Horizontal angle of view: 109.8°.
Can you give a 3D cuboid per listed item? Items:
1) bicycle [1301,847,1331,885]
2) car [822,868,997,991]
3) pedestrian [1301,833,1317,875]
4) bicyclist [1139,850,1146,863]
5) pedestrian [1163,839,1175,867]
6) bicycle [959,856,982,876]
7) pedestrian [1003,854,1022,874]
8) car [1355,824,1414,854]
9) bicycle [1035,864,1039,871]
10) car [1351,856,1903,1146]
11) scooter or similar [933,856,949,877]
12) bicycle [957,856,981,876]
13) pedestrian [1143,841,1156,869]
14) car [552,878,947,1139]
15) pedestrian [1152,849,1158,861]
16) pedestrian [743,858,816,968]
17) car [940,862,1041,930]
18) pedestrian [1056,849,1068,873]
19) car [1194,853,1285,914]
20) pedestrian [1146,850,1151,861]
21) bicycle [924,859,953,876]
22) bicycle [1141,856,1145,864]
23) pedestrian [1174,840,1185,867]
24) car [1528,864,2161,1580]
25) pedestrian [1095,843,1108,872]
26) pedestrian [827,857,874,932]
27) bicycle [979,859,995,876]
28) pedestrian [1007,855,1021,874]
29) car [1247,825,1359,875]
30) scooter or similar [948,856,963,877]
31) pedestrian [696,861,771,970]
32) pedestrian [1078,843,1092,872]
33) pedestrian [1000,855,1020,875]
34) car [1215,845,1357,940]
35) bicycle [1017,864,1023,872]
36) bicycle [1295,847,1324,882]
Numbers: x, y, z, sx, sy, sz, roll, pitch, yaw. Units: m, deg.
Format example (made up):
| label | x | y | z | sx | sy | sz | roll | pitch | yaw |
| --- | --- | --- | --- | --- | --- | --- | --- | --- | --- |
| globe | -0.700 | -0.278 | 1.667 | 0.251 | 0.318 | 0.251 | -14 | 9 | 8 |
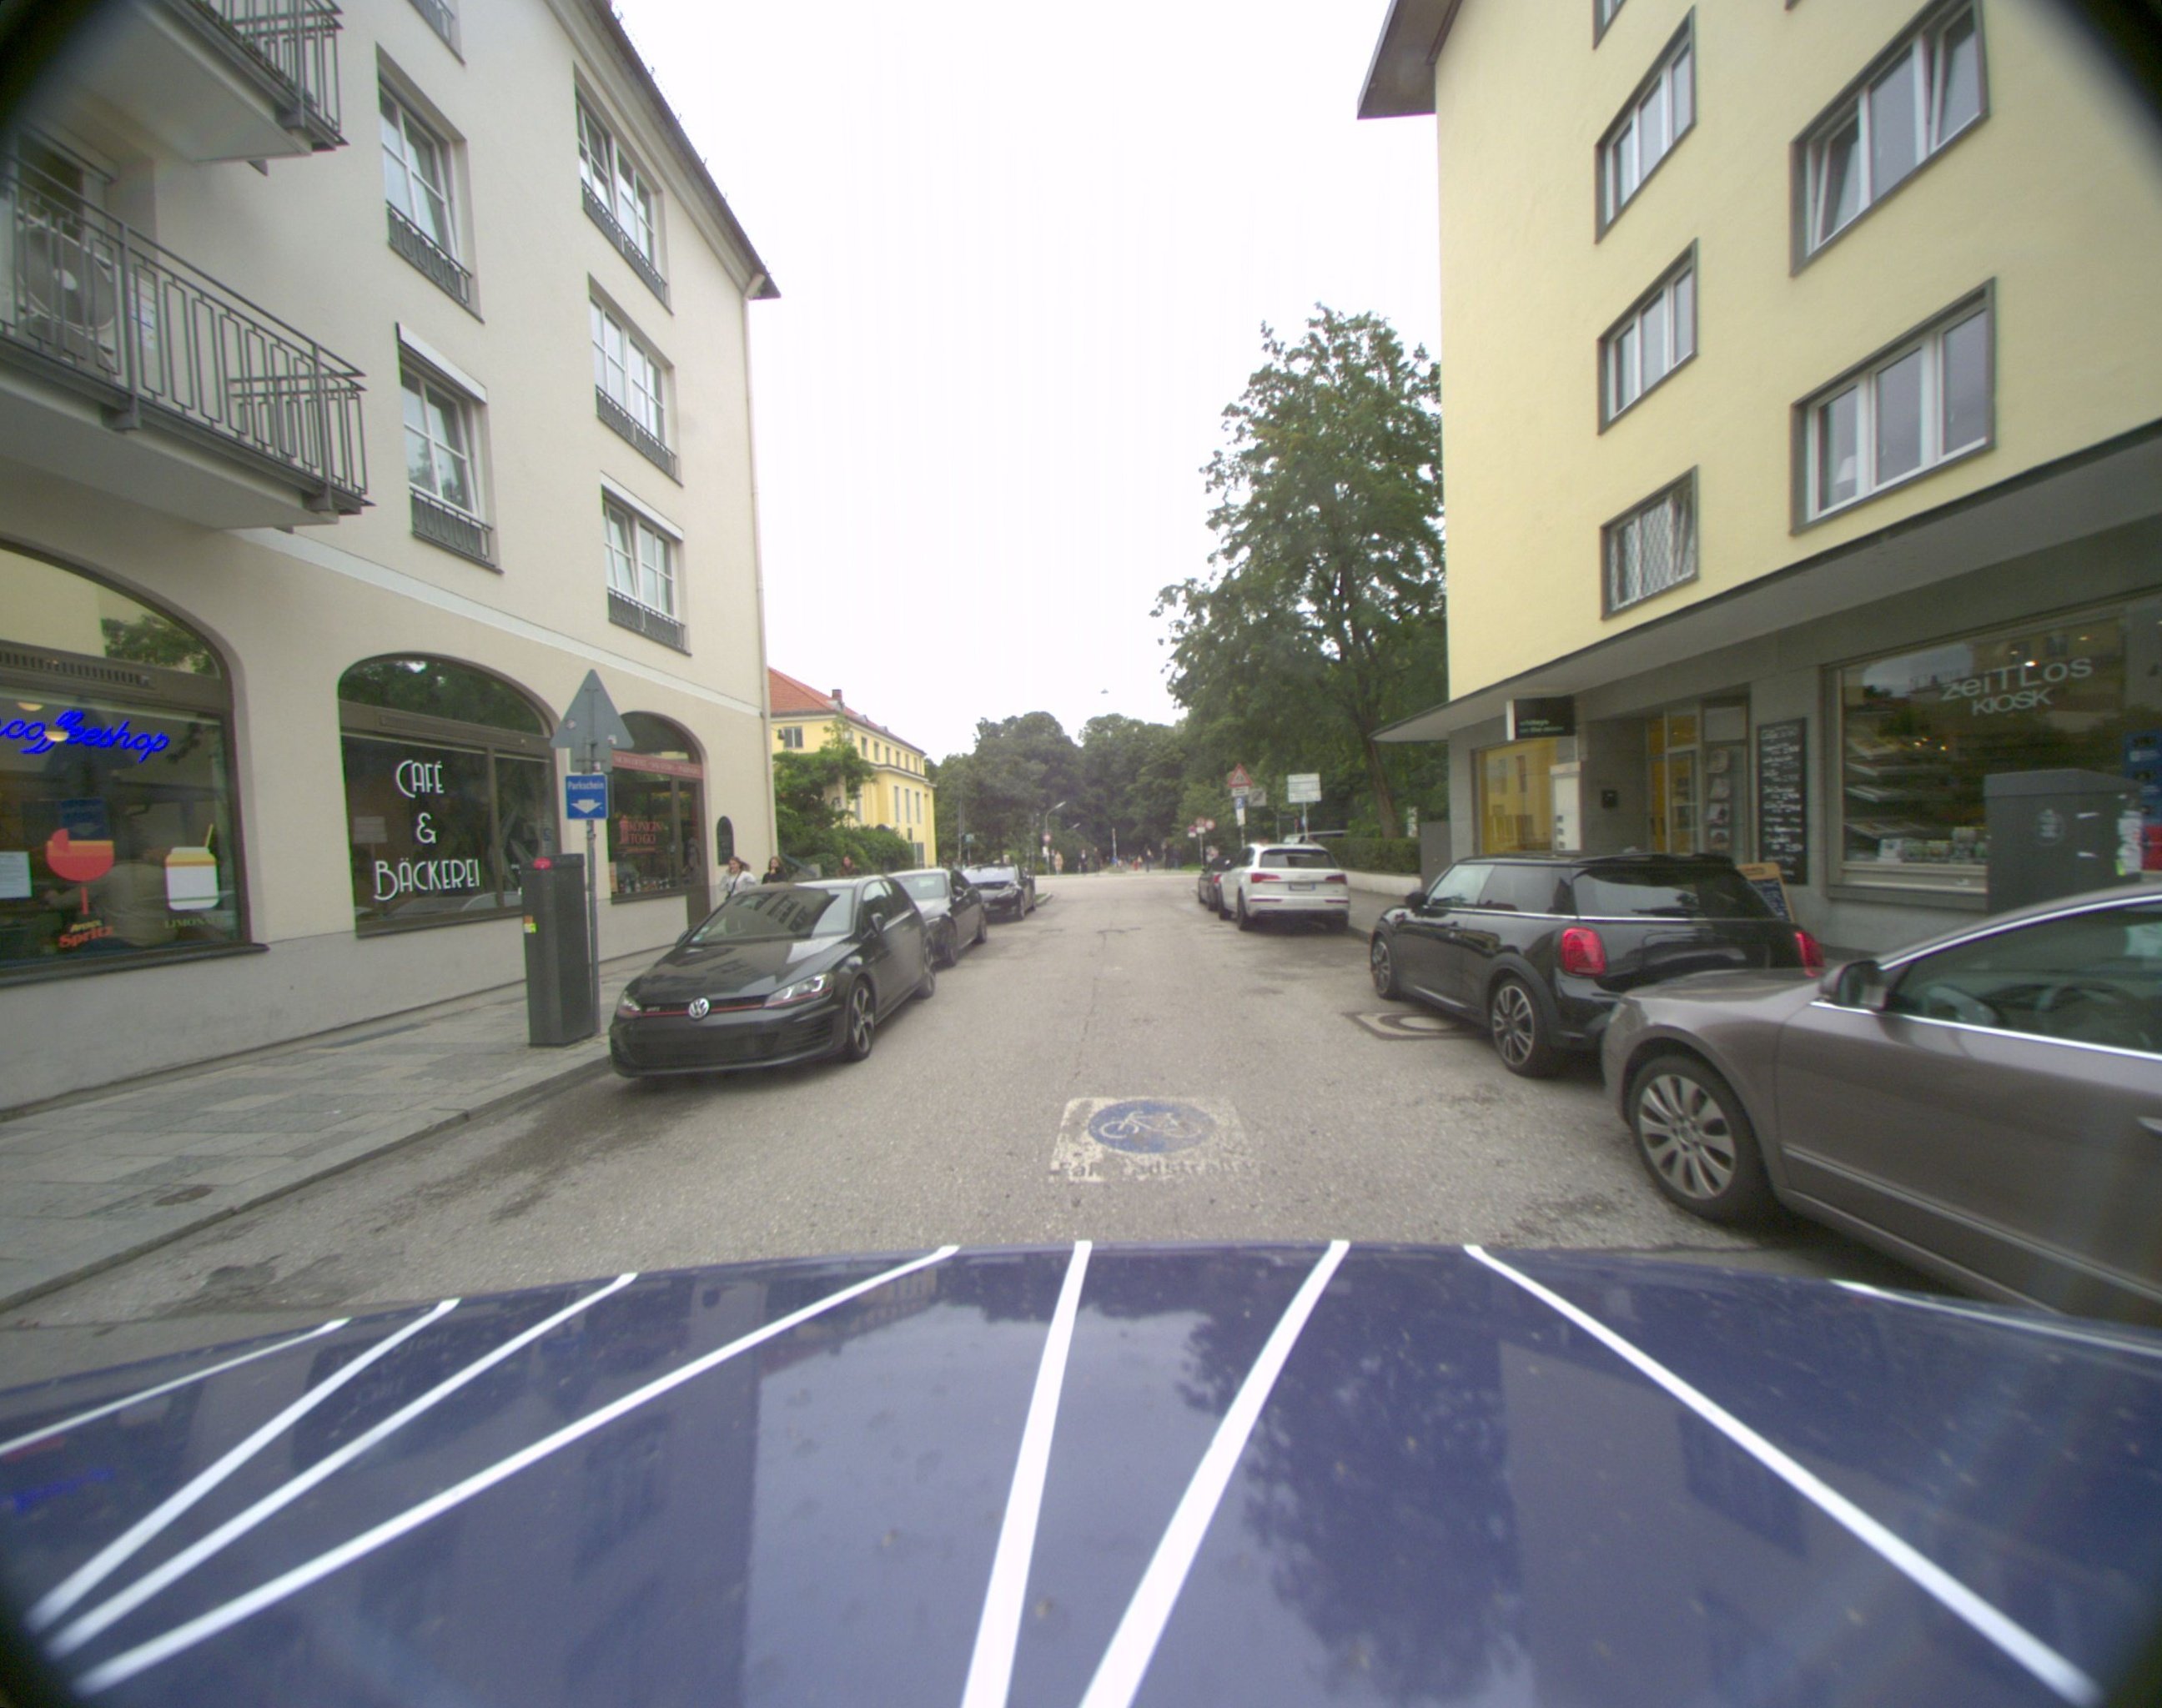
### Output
| label | x | y | z | sx | sy | sz | roll | pitch | yaw |
| --- | --- | --- | --- | --- | --- | --- | --- | --- | --- |
| bicycle | 7.916 | 0.380 | 25.648 | 0.563 | 1.203 | 1.854 | -3 | 1 | 5 |
| car | -2.572 | 1.071 | 12.562 | 1.650 | 1.417 | 4.509 | -5 | 0 | 2 |
| pedestrian | 9.928 | -0.001 | 33.041 | 0.560 | 1.788 | 0.641 | -2 | 0 | 21 |
| bicyclist | 8.683 | 0.350 | 107.577 | 0.856 | 1.792 | 0.767 | -3 | 2 | 3 |
| pedestrian | 5.865 | -0.065 | 50.543 | 0.707 | 1.892 | 0.804 | -1 | 0 | 3 |
| bicycle | -6.727 | 0.738 | 46.299 | 0.169 | 1.191 | 1.658 | -1 | -1 | 44 |
| pedestrian | -4.698 | 0.709 | 51.924 | 1.178 | 1.285 | 0.639 | -3 | -2 | -8 |
| car | 23.988 | -1.199 | 60.077 | 3.958 | 2.093 | 1.908 | -2 | 2 | 34 |
| bicycle | -4.210 | 1.285 | 72.841 | 0.242 | 0.653 | 0.909 | 0 | -1 | 4 |
| car | 3.633 | 0.804 | 6.113 | 1.683 | 1.463 | 4.097 | -1 | 1 | 4 |
| scooter or similar | -8.180 | 0.716 | 44.390 | 0.396 | 1.240 | 1.391 | -2 | 0 | 12 |
| bicycle | -6.860 | 0.749 | 46.447 | 0.202 | 1.184 | 1.658 | -1 | -1 | 44 |
| pedestrian | 4.626 | 0.074 | 51.313 | 0.751 | 1.822 | 1.115 | -1 | 0 | 3 |
| car | -2.541 | 1.080 | 7.075 | 1.679 | 1.417 | 4.203 | -5 | 1 | 1 |
| pedestrian | 11.007 | 0.171 | 112.932 | 0.685 | 1.662 | 0.774 | -4 | -2 | 4 |
| pedestrian | -4.853 | 0.931 | 12.282 | 0.706 | 1.652 | 0.880 | -2 | 3 | 2 |
| car | -2.230 | 1.005 | 19.995 | 1.807 | 1.402 | 4.656 | -3 | 1 | 3 |
| pedestrian | -1.306 | 0.498 | 53.144 | 0.653 | 1.676 | 0.976 | -4 | -2 | 4 |
| car | 4.136 | 0.706 | 20.421 | 1.749 | 1.402 | 4.098 | -1 | 1 | 3 |
| pedestrian | 10.154 | 0.198 | 114.519 | 0.685 | 1.662 | 0.774 | -4 | -2 | 4 |
| bicycle | -8.504 | 0.793 | 45.354 | 1.656 | 0.987 | 0.248 | 0 | 0 | -21 |
| bicycle | 8.736 | 0.879 | 107.549 | 0.483 | 1.035 | 1.946 | -2 | 0 | 5 |
| pedestrian | 6.552 | -0.008 | 50.471 | 0.634 | 1.771 | 0.801 | -1 | 0 | 3 |
| car | 3.187 | 0.839 | 1.525 | 1.683 | 1.463 | 4.949 | -1 | 1 | 0 |
| pedestrian | 1.238 | 0.230 | 45.904 | 0.639 | 1.662 | 0.774 | -4 | -2 | 4 |
| pedestrian | -5.230 | 0.901 | 17.291 | 0.706 | 1.614 | 0.880 | -2 | 3 | 2 |
| bicycle | -5.950 | 0.839 | 48.143 | 0.307 | 1.032 | 1.657 | -1 | -1 | 17 |
| pedestrian | -4.647 | 0.710 | 52.575 | 0.887 | 1.227 | 0.550 | -4 | -2 | -8 |
| car | 9.972 | -0.206 | 34.270 | 4.421 | 1.990 | 1.933 | -3 | 3 | -12 |
| scooter or similar | -7.347 | 0.712 | 44.464 | 0.324 | 1.206 | 1.114 | -2 | 0 | -38 |
| pedestrian | -5.601 | 0.965 | 12.301 | 0.706 | 1.652 | 0.880 | -2 | 3 | 2 |
| pedestrian | 0.264 | 0.221 | 45.528 | 0.685 | 1.662 | 0.774 | -4 | -2 | 4 |
| pedestrian | -4.763 | 0.726 | 50.982 | 1.216 | 1.240 | 0.639 | -3 | -2 | -8 |
| car | 3.842 | 0.657 | 14.973 | 1.807 | 1.574 | 4.339 | -1 | 0 | 3 |
| bicycle | -4.899 | 1.135 | 61.320 | 0.215 | 0.672 | 0.910 | -1 | -1 | 15 |
| bicycle | 8.414 | 0.363 | 27.887 | 0.582 | 1.120 | 2.301 | -3 | 1 | 27 |
